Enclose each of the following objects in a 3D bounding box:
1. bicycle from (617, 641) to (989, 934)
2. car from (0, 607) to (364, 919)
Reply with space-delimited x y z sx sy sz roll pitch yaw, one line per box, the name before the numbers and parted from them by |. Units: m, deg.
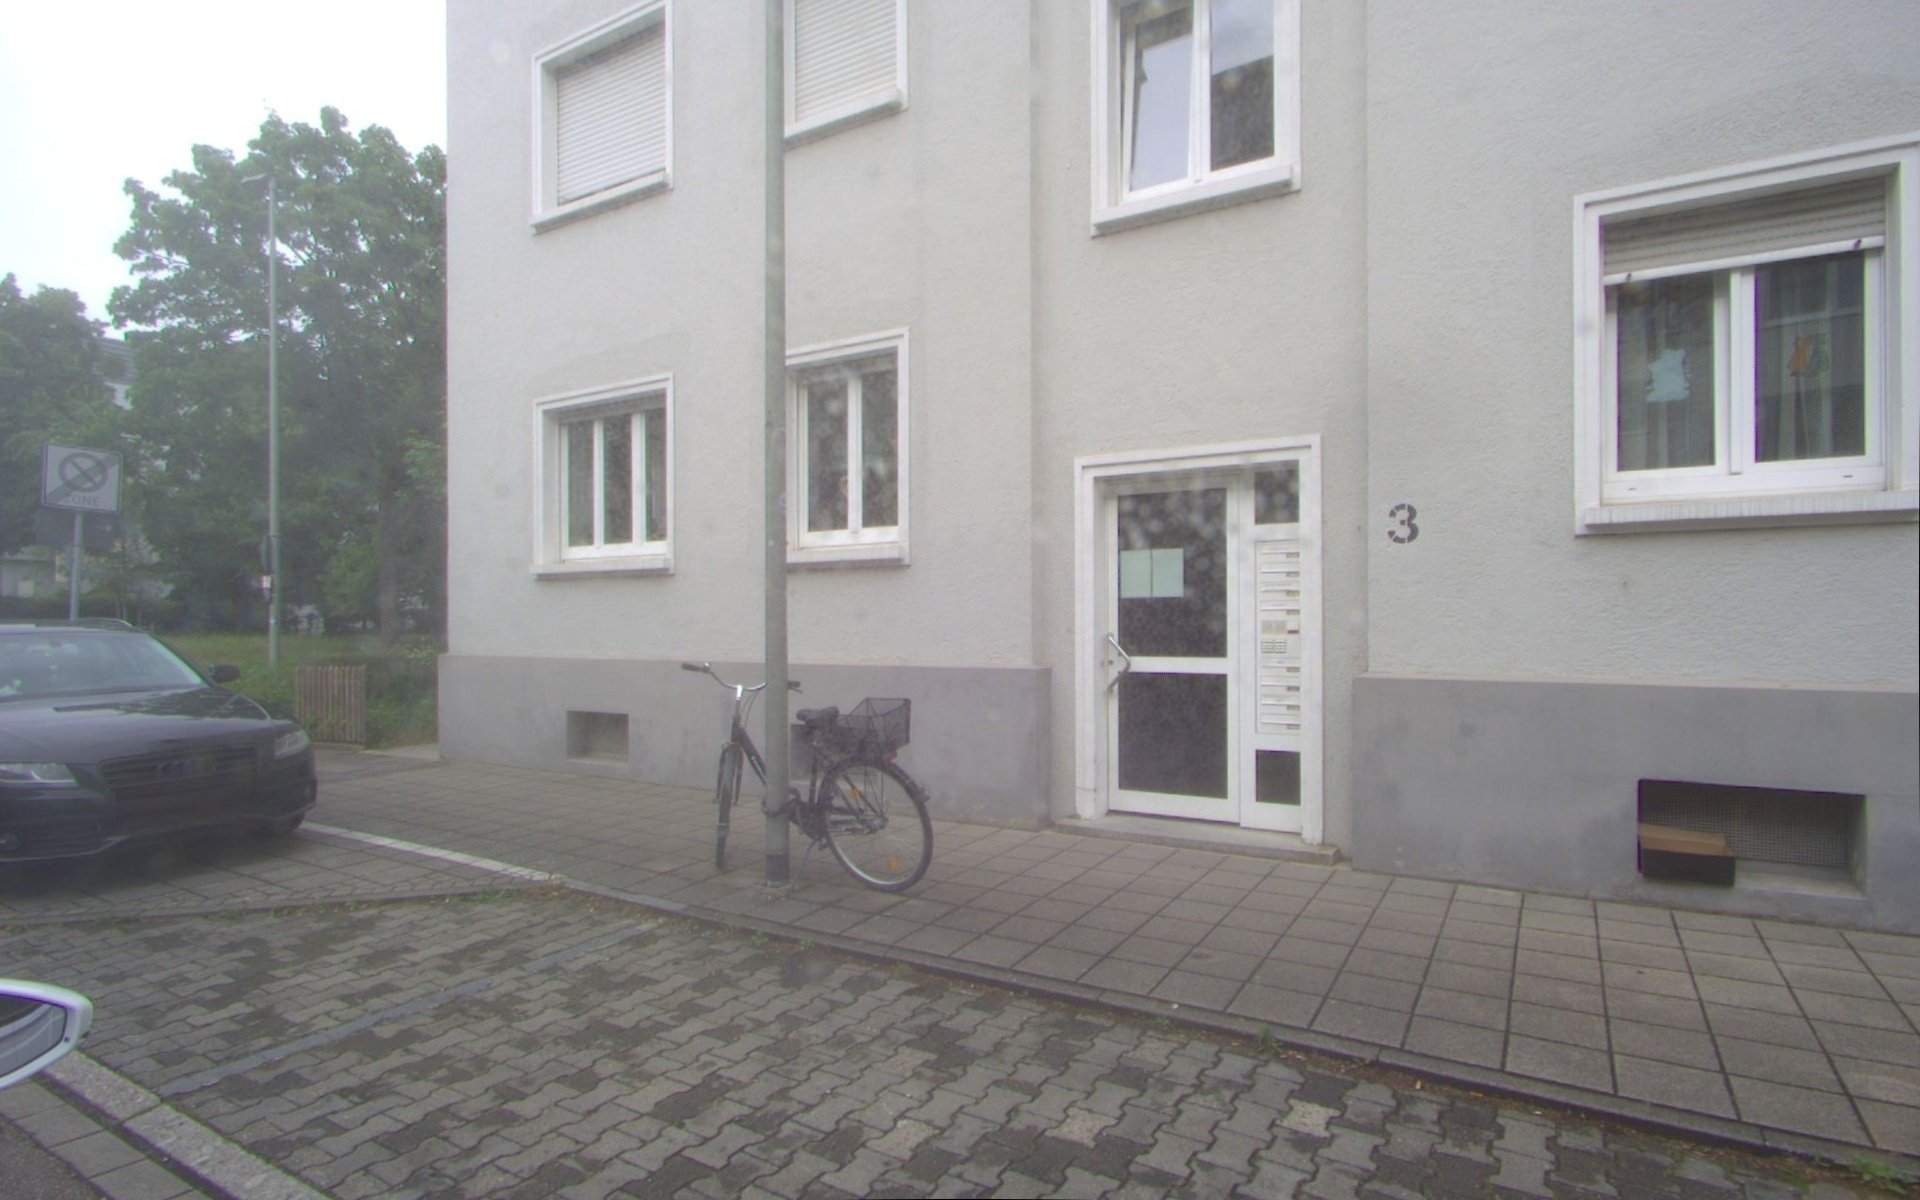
bicycle | -0.847 0.855 5.195 1.868 1.216 0.747 0 1 32
car | -6.190 0.799 6.624 4.655 1.482 1.857 0 0 31
